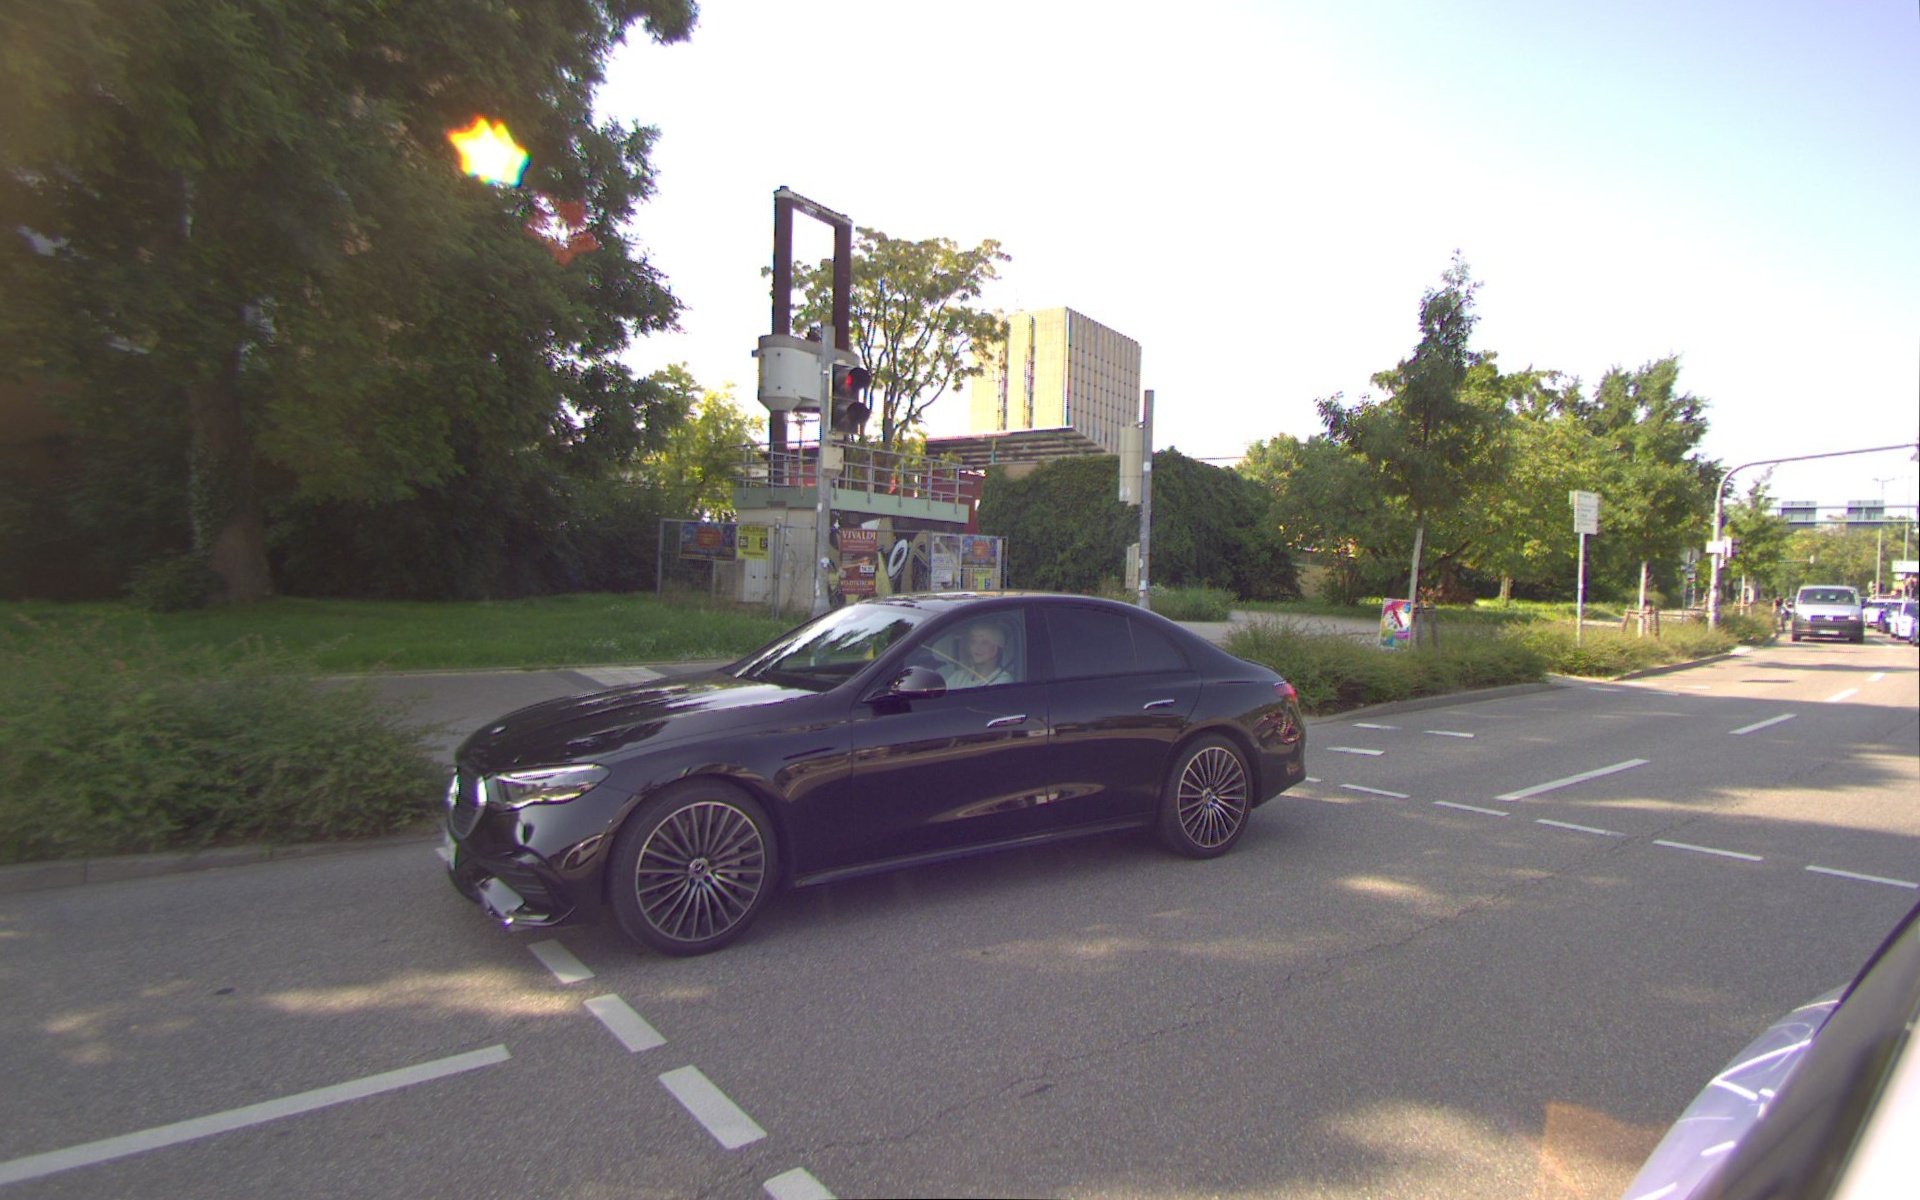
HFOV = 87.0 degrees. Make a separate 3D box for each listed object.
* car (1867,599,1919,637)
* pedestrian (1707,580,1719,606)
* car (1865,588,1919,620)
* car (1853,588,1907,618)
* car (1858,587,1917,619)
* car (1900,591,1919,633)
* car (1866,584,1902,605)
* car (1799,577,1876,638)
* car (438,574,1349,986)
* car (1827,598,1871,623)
[{"bbox_3d":[42.352,0.784,45.714,1.993,1.524,4.367,3,2,42],"label":"car"},{"bbox_3d":[54.857,-0.515,73.761,0.620,1.868,0.632,2,2,38],"label":"pedestrian"},{"bbox_3d":[48.184,0.183,52.087,1.922,1.524,4.239,3,2,36],"label":"car"},{"bbox_3d":[55.484,0.178,61.097,1.922,1.680,4.239,3,2,36],"label":"car"},{"bbox_3d":[52.074,0.135,56.889,1.922,1.680,4.239,3,2,36],"label":"car"},{"bbox_3d":[37.080,0.457,38.379,1.993,1.524,4.367,3,2,42],"label":"car"},{"bbox_3d":[99.442,-0.563,108.954,1.904,2.039,3.957,3,0,30],"label":"car"},{"bbox_3d":[30.105,0.198,34.709,1.840,1.898,4.898,3,2,42],"label":"car"},{"bbox_3d":[-0.141,0.619,5.639,4.778,1.458,1.827,0,1,-32],"label":"car"},{"bbox_3d":[63.861,0.713,72.727,1.922,1.680,4.239,3,2,36],"label":"car"}]
